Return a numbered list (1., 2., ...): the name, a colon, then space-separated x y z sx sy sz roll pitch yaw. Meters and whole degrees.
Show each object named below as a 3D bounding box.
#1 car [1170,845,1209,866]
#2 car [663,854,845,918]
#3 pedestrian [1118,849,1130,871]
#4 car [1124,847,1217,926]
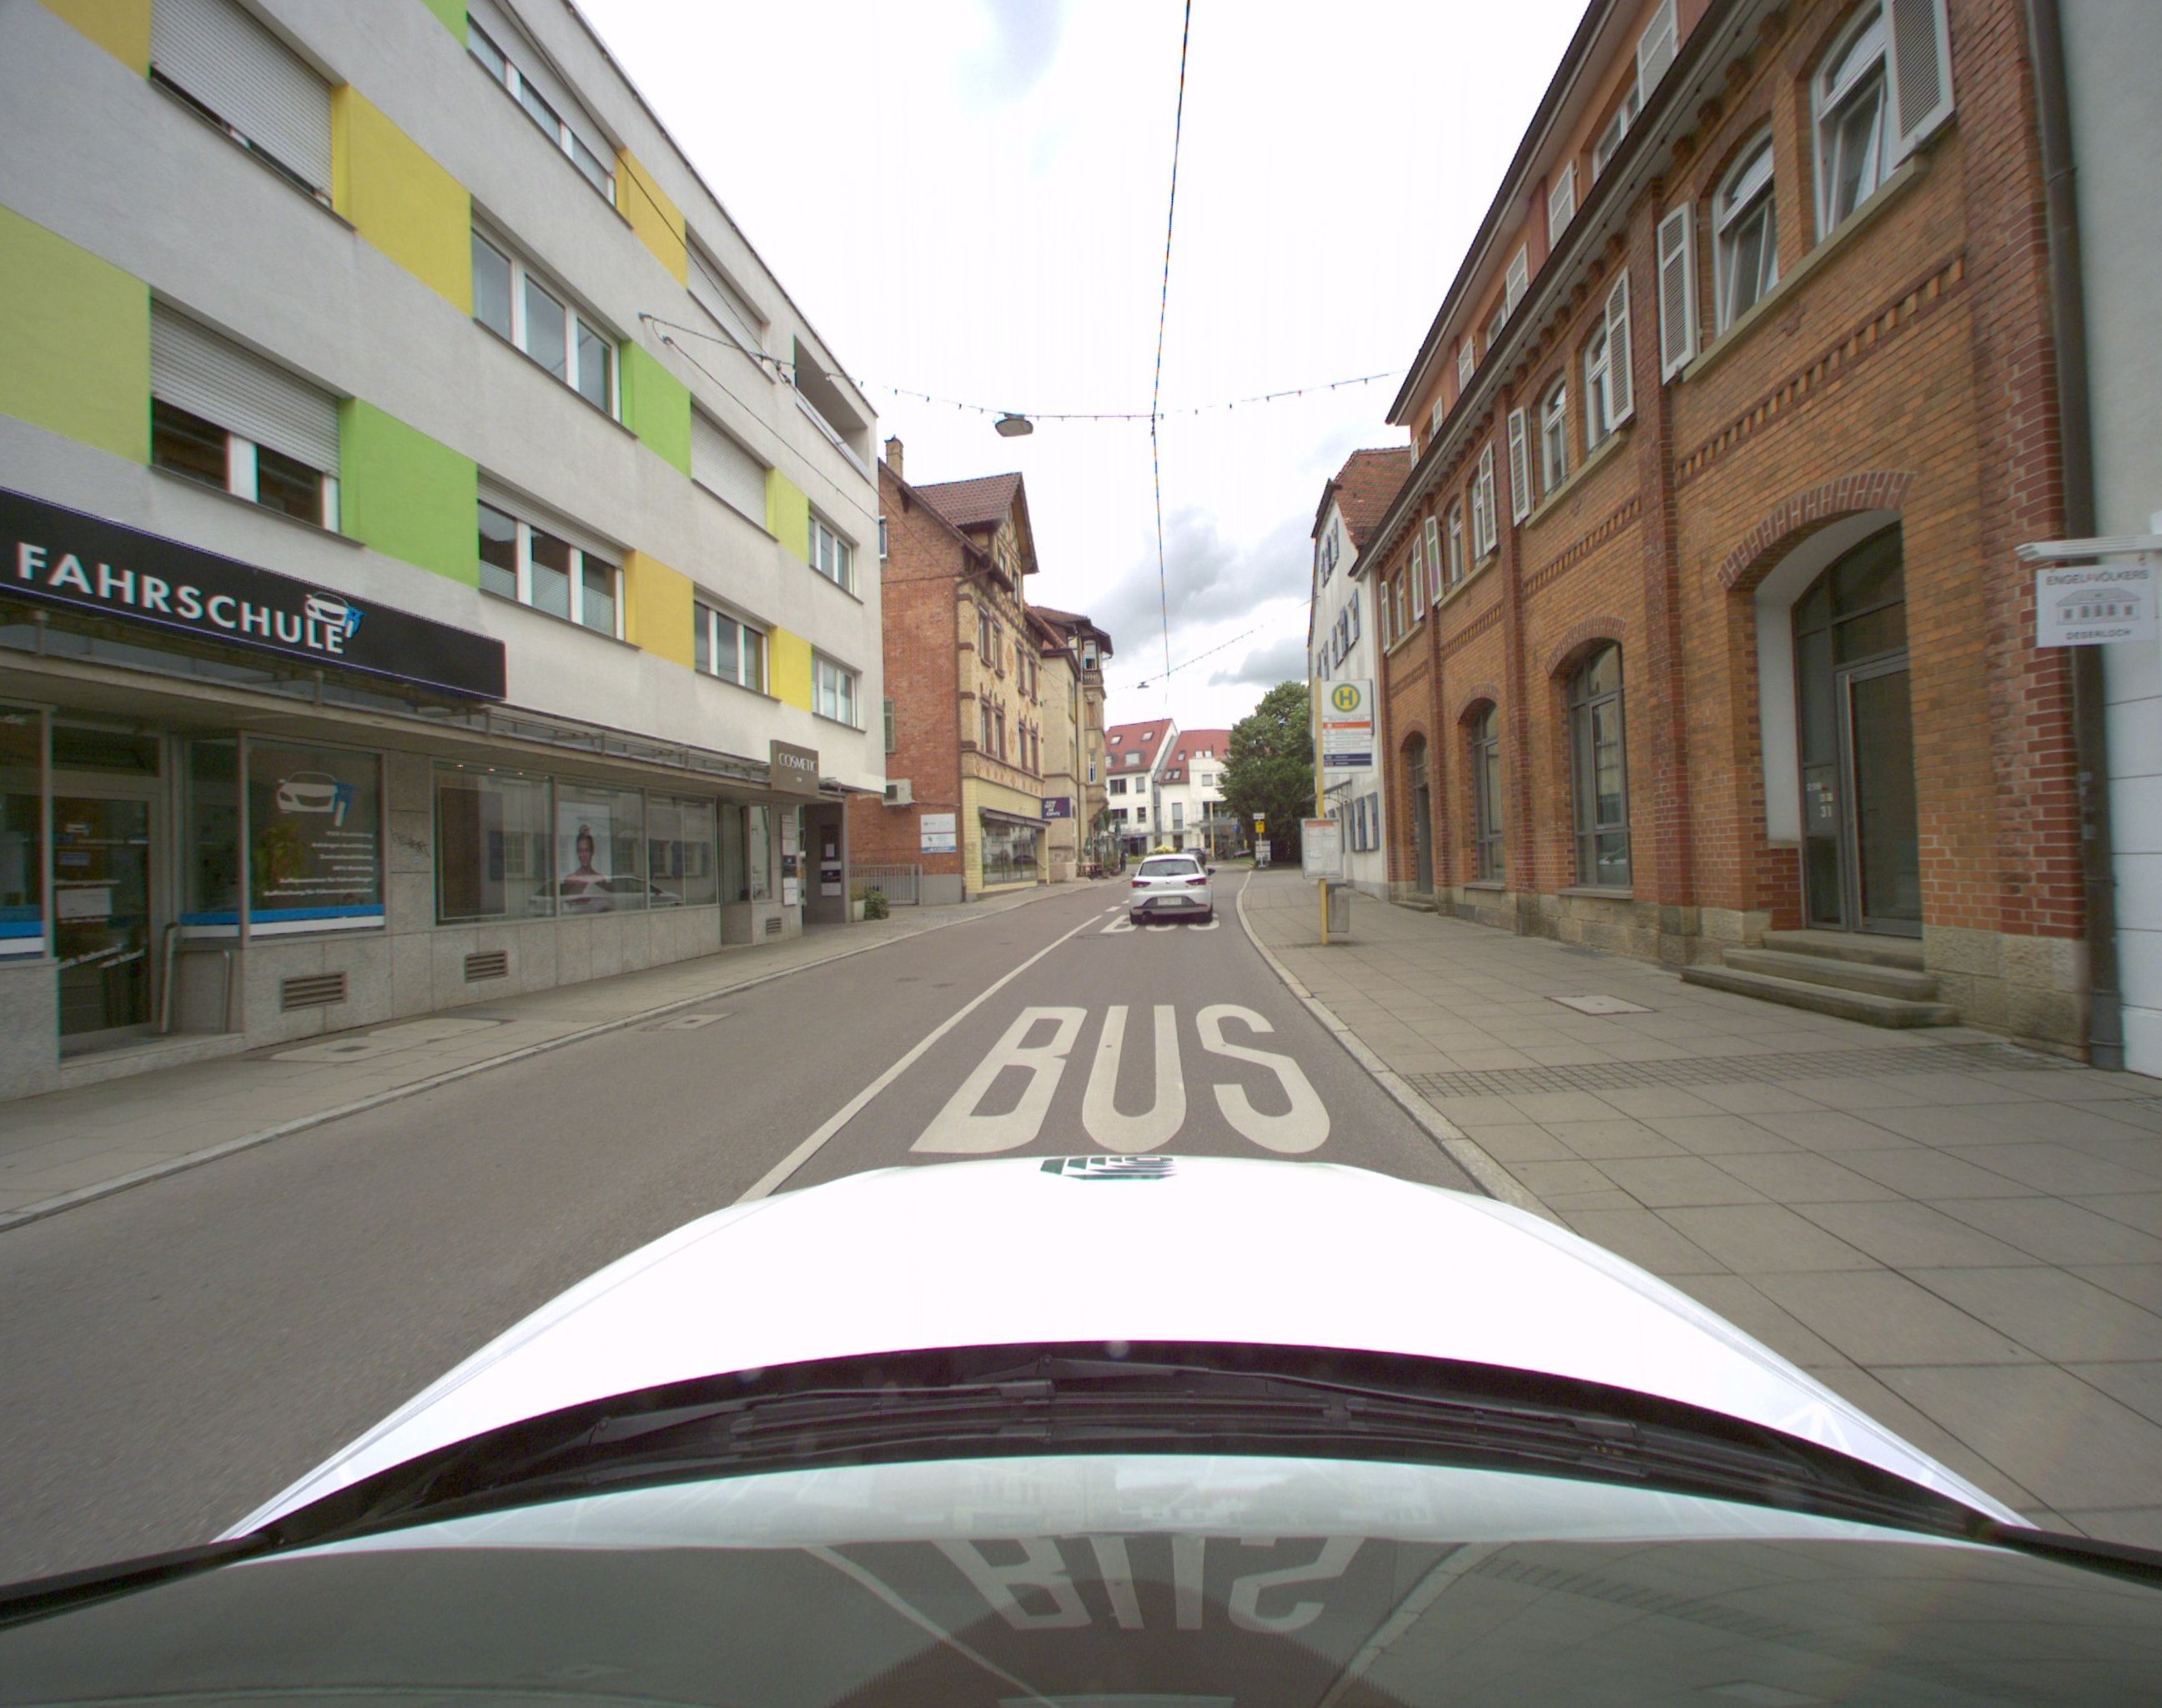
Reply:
1. car: 8.411 0.086 63.401 1.812 1.480 3.856 -2 1 -11
2. car: -8.679 0.819 21.836 3.967 1.530 2.003 -2 0 5
3. pedestrian: 3.062 0.437 57.673 0.830 1.552 0.628 -2 0 3
4. car: 2.096 0.639 18.259 1.801 1.480 3.881 -2 1 9
